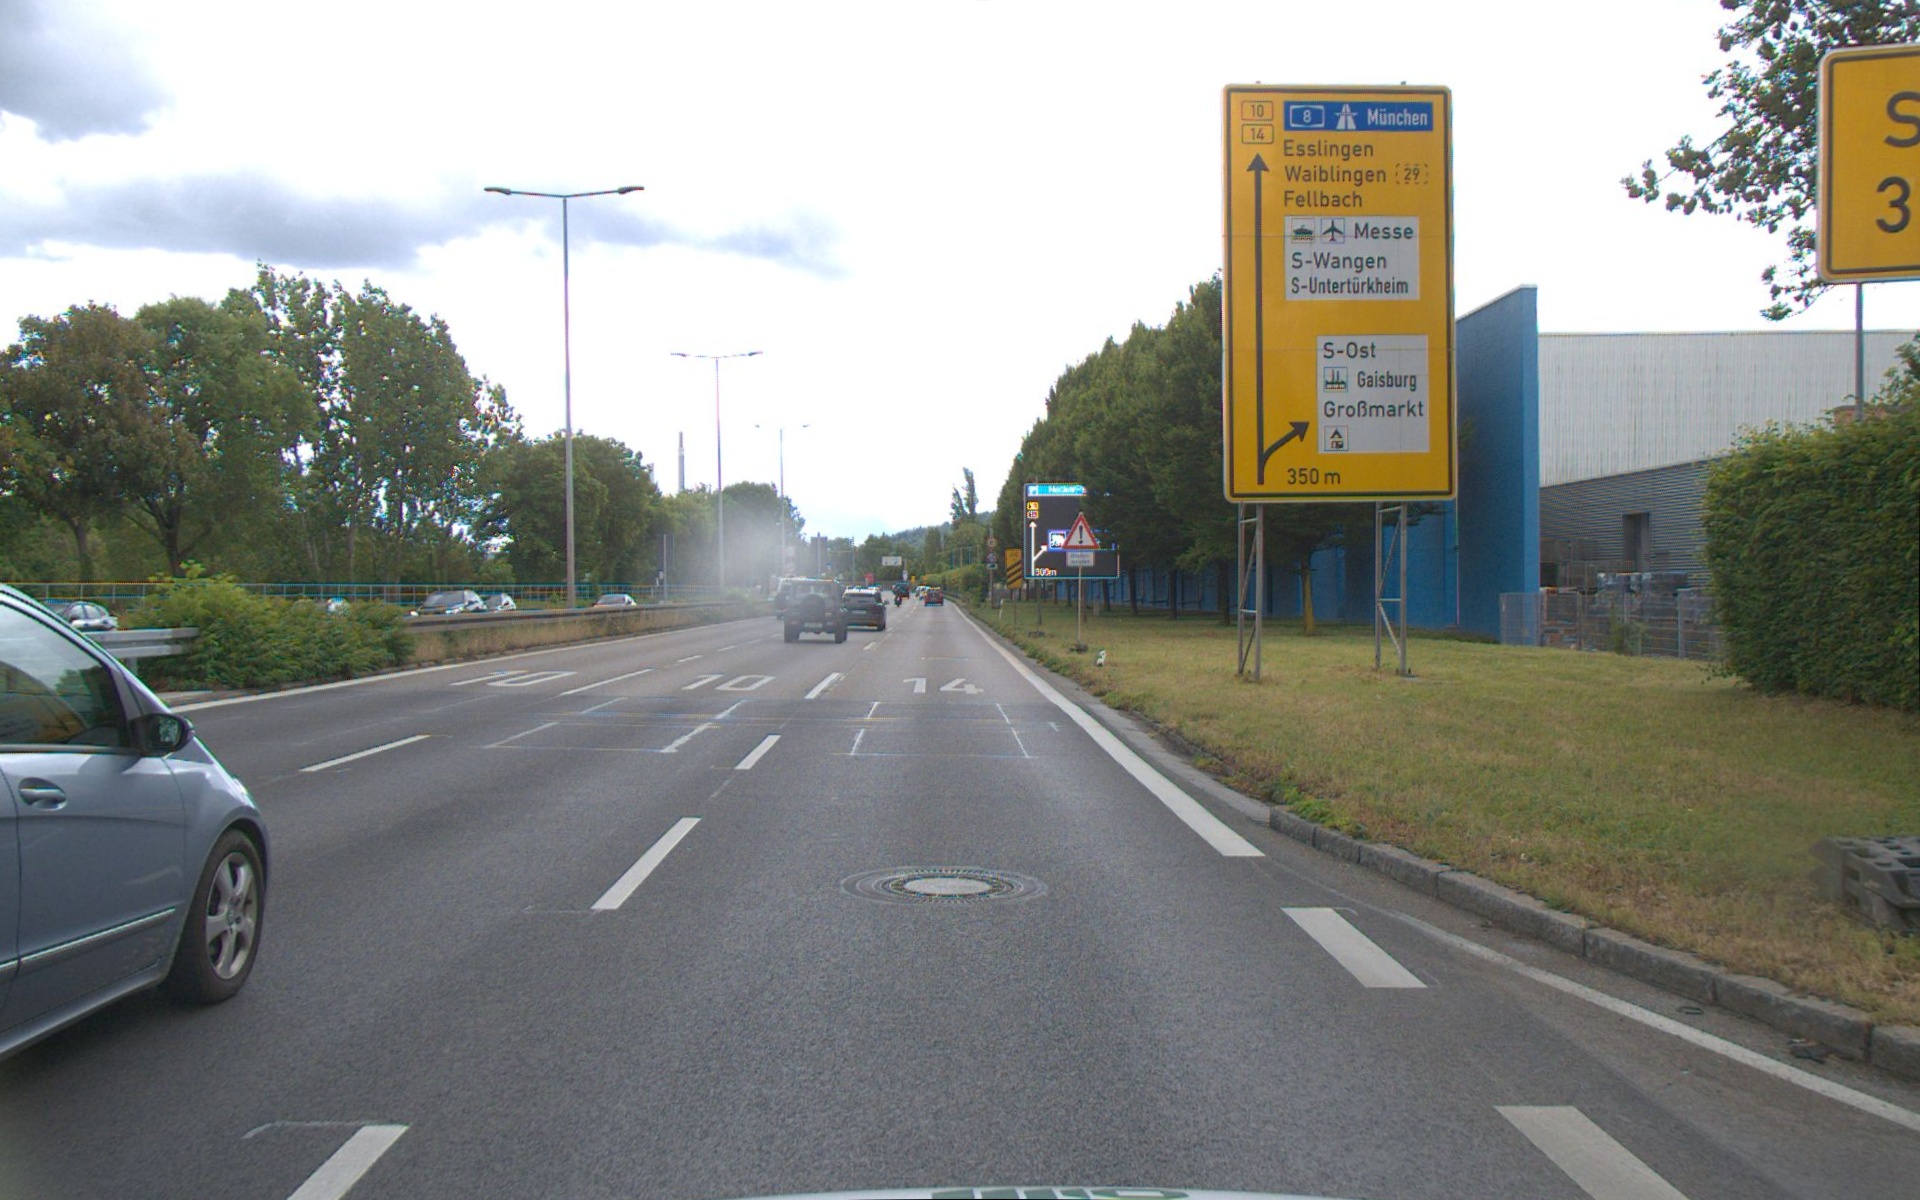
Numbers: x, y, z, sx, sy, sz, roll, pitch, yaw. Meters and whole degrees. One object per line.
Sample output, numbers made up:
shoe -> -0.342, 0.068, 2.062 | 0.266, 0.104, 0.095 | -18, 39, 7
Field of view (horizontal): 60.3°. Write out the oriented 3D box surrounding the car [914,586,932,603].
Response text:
car -> -4.483, -0.707, 200.155 | 1.973, 1.968, 4.898 | -2, 0, -2

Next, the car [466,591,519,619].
car -> -23.253, 0.233, 82.392 | 1.546, 1.322, 4.060 | 0, 1, -1

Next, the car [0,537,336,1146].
car -> -3.401, 0.618, 4.633 | 1.841, 1.566, 4.145 | 0, 1, -2

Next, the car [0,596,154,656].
car -> -22.707, 0.626, 42.618 | 1.887, 1.443, 4.366 | 0, 1, -3

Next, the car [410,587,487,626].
car -> -19.544, 0.214, 63.399 | 1.740, 1.443, 4.066 | 0, 1, -1

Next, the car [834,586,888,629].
car -> -3.559, 0.249, 60.220 | 1.808, 1.448, 4.898 | -2, 0, -2

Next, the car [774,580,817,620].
car -> -7.594, -0.014, 76.520 | 1.663, 1.772, 3.999 | 2, 0, -2

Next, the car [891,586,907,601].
car -> -7.838, -0.858, 212.542 | 1.973, 1.968, 4.899 | 0, 1, -2

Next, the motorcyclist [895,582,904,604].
motorcyclist -> -5.036, -0.607, 137.701 | 0.775, 1.791, 0.922 | 0, 0, -1

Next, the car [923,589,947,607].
car -> -2.216, -0.185, 143.645 | 1.935, 1.448, 4.898 | -2, 0, -2

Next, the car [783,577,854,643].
car -> -3.910, 0.246, 46.166 | 1.663, 1.715, 3.999 | 2, 0, -1

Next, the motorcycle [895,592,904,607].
motorcycle -> -5.031, -0.031, 137.628 | 0.775, 1.240, 2.329 | 0, 1, -1

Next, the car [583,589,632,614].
car -> -16.710, 0.051, 78.621 | 1.514, 1.125, 4.066 | 0, 1, -1

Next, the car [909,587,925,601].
car -> -6.214, -0.872, 239.145 | 1.974, 1.968, 4.896 | -2, 0, -4
